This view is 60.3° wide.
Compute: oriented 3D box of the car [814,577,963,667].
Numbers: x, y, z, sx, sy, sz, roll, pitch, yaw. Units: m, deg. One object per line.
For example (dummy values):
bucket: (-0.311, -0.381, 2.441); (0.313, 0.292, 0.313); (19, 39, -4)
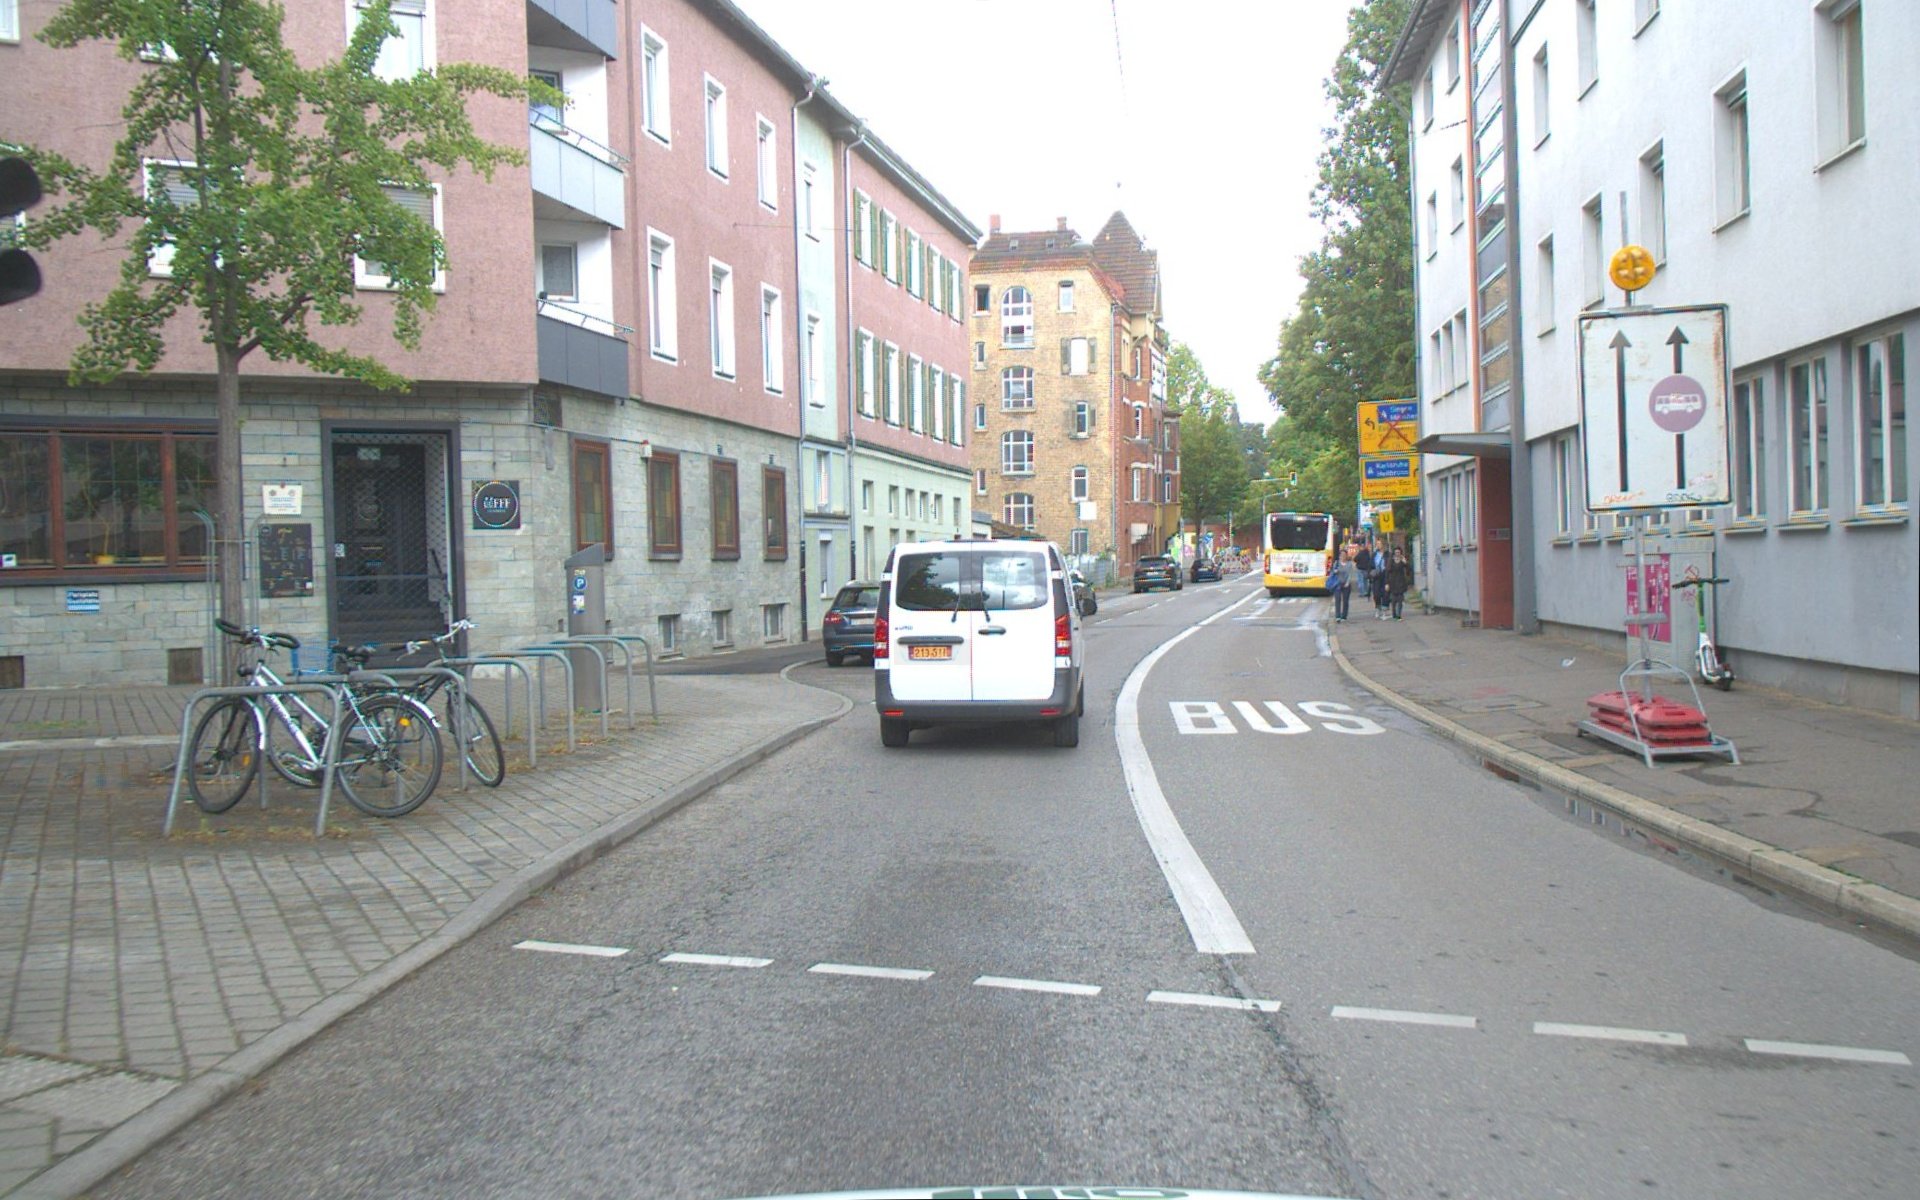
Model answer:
car: (-1.196, 0.345, 29.983); (1.790, 1.480, 4.588); (-1, 0, 9)

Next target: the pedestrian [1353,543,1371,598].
pedestrian: (13.548, -0.997, 55.773); (0.569, 1.810, 0.822); (1, 1, 13)

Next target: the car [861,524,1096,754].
car: (0.349, 0.336, 16.638); (1.876, 1.935, 4.704); (1, 0, 6)

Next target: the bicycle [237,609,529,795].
bicycle: (-3.882, 0.676, 11.262); (1.769, 1.197, 0.723); (1, 0, -12)

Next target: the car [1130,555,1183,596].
car: (9.264, -1.177, 77.603); (1.912, 1.764, 4.778); (-1, 2, 13)

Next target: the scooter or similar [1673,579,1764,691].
scooter or similar: (8.191, 0.357, 17.897); (0.419, 1.116, 1.440); (-3, 1, 7)

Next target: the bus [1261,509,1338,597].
bus: (13.573, -1.871, 65.637); (2.606, 3.190, 10.050); (1, 2, 14)

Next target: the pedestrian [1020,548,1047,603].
pedestrian: (2.446, -0.813, 55.041); (0.745, 1.774, 0.985); (1, 0, 11)

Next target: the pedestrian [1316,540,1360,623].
pedestrian: (8.688, -0.430, 38.032); (0.786, 1.824, 0.943); (-3, 2, 7)

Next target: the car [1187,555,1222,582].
car: (15.327, -1.993, 103.526); (1.688, 1.511, 4.395); (0, 3, 15)

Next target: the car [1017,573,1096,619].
car: (3.020, -0.112, 50.973); (1.951, 1.312, 4.003); (1, 0, 10)

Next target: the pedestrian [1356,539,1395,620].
pedestrian: (9.520, -0.479, 37.923); (0.672, 1.787, 0.879); (-3, 2, 7)

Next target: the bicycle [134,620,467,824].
bicycle: (-3.993, 0.715, 10.051); (1.829, 1.133, 0.578); (1, 0, 10)

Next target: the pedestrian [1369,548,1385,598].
pedestrian: (15.427, -0.997, 61.156); (0.440, 1.809, 0.672); (-4, 0, 13)

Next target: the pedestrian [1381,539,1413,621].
pedestrian: (9.724, -0.448, 36.807); (0.531, 1.787, 0.609); (-3, 2, 20)
